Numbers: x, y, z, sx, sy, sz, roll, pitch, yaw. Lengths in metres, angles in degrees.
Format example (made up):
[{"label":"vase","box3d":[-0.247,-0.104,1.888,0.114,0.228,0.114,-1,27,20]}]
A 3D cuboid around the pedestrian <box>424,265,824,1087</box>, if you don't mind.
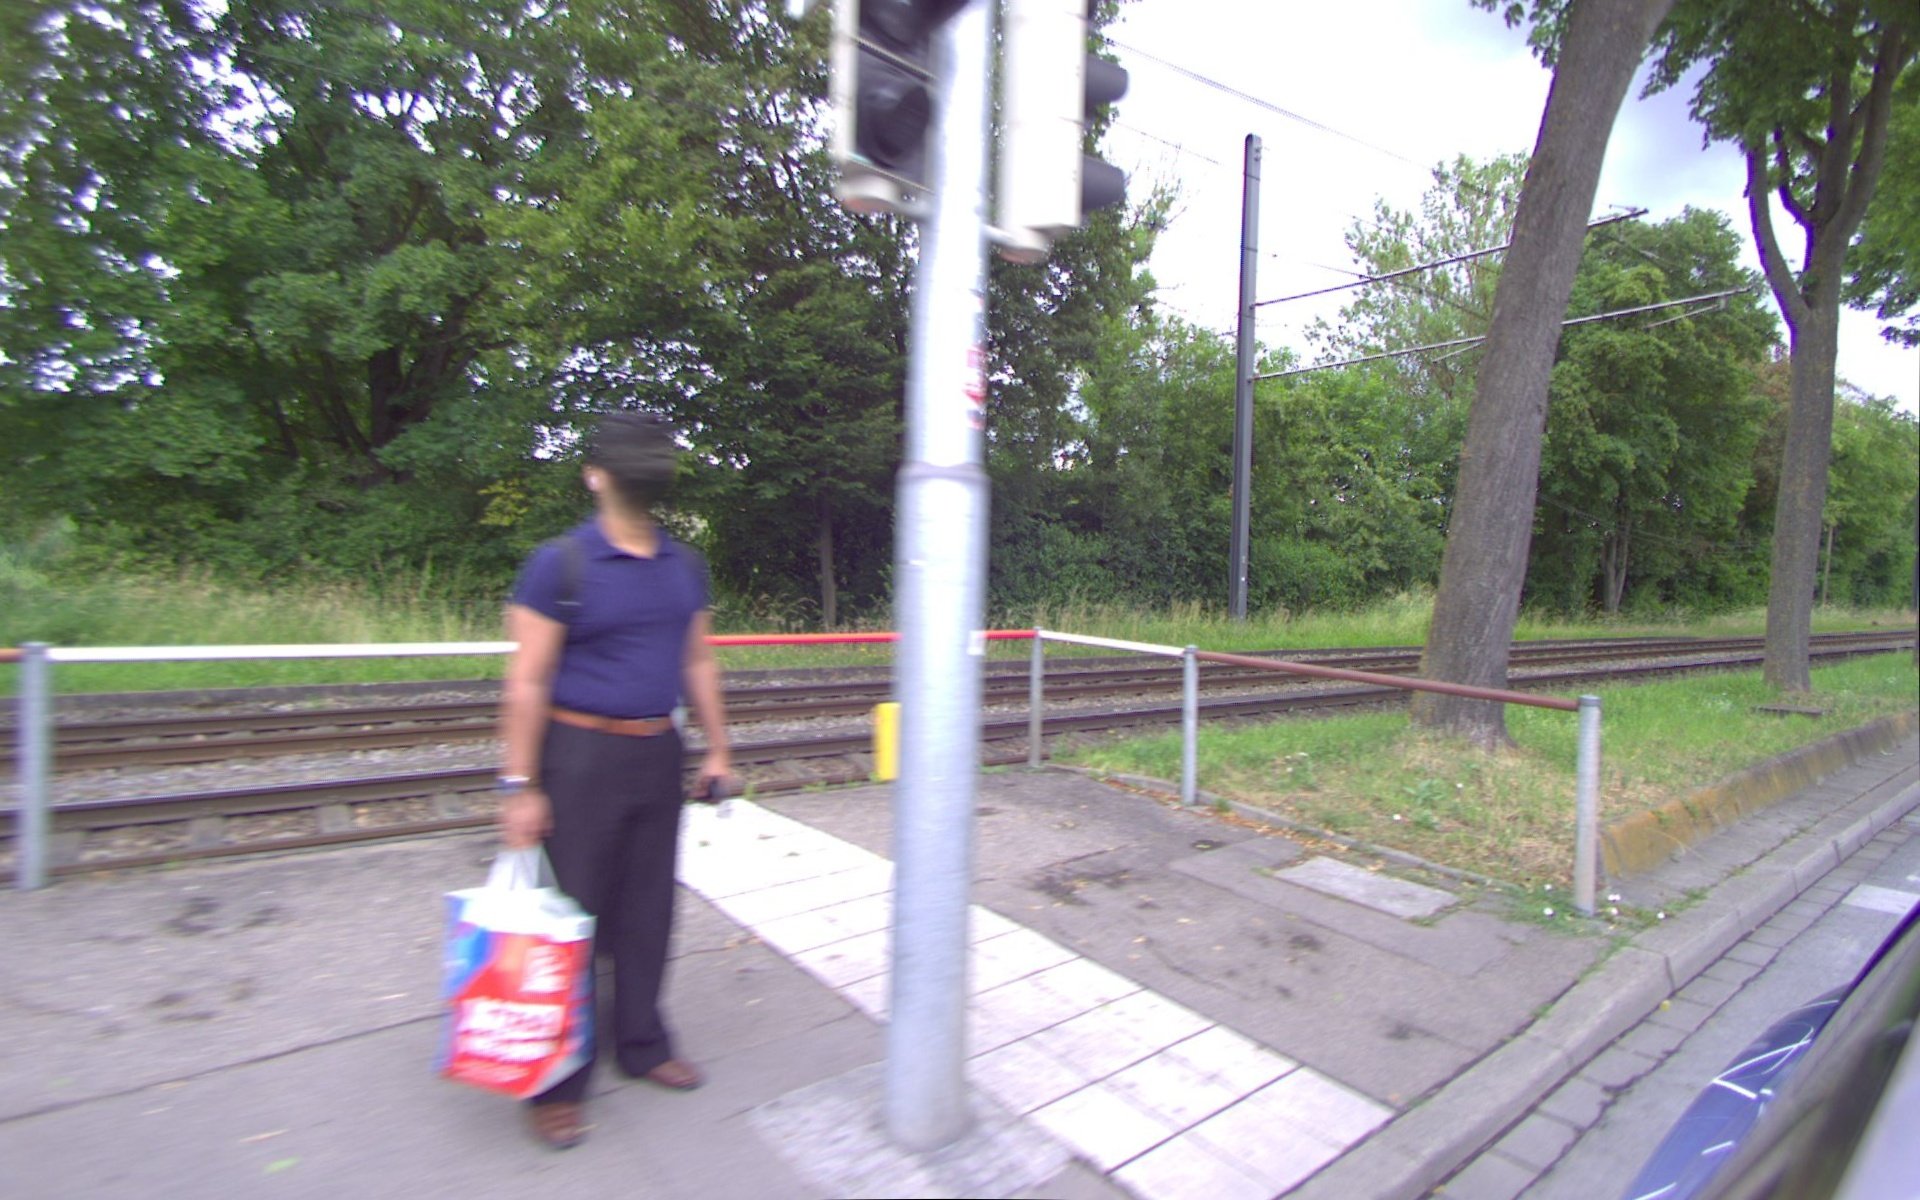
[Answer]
[{"label":"pedestrian","box3d":[-0.921,0.152,2.694,0.823,1.758,0.755,0,3,-32]}]
